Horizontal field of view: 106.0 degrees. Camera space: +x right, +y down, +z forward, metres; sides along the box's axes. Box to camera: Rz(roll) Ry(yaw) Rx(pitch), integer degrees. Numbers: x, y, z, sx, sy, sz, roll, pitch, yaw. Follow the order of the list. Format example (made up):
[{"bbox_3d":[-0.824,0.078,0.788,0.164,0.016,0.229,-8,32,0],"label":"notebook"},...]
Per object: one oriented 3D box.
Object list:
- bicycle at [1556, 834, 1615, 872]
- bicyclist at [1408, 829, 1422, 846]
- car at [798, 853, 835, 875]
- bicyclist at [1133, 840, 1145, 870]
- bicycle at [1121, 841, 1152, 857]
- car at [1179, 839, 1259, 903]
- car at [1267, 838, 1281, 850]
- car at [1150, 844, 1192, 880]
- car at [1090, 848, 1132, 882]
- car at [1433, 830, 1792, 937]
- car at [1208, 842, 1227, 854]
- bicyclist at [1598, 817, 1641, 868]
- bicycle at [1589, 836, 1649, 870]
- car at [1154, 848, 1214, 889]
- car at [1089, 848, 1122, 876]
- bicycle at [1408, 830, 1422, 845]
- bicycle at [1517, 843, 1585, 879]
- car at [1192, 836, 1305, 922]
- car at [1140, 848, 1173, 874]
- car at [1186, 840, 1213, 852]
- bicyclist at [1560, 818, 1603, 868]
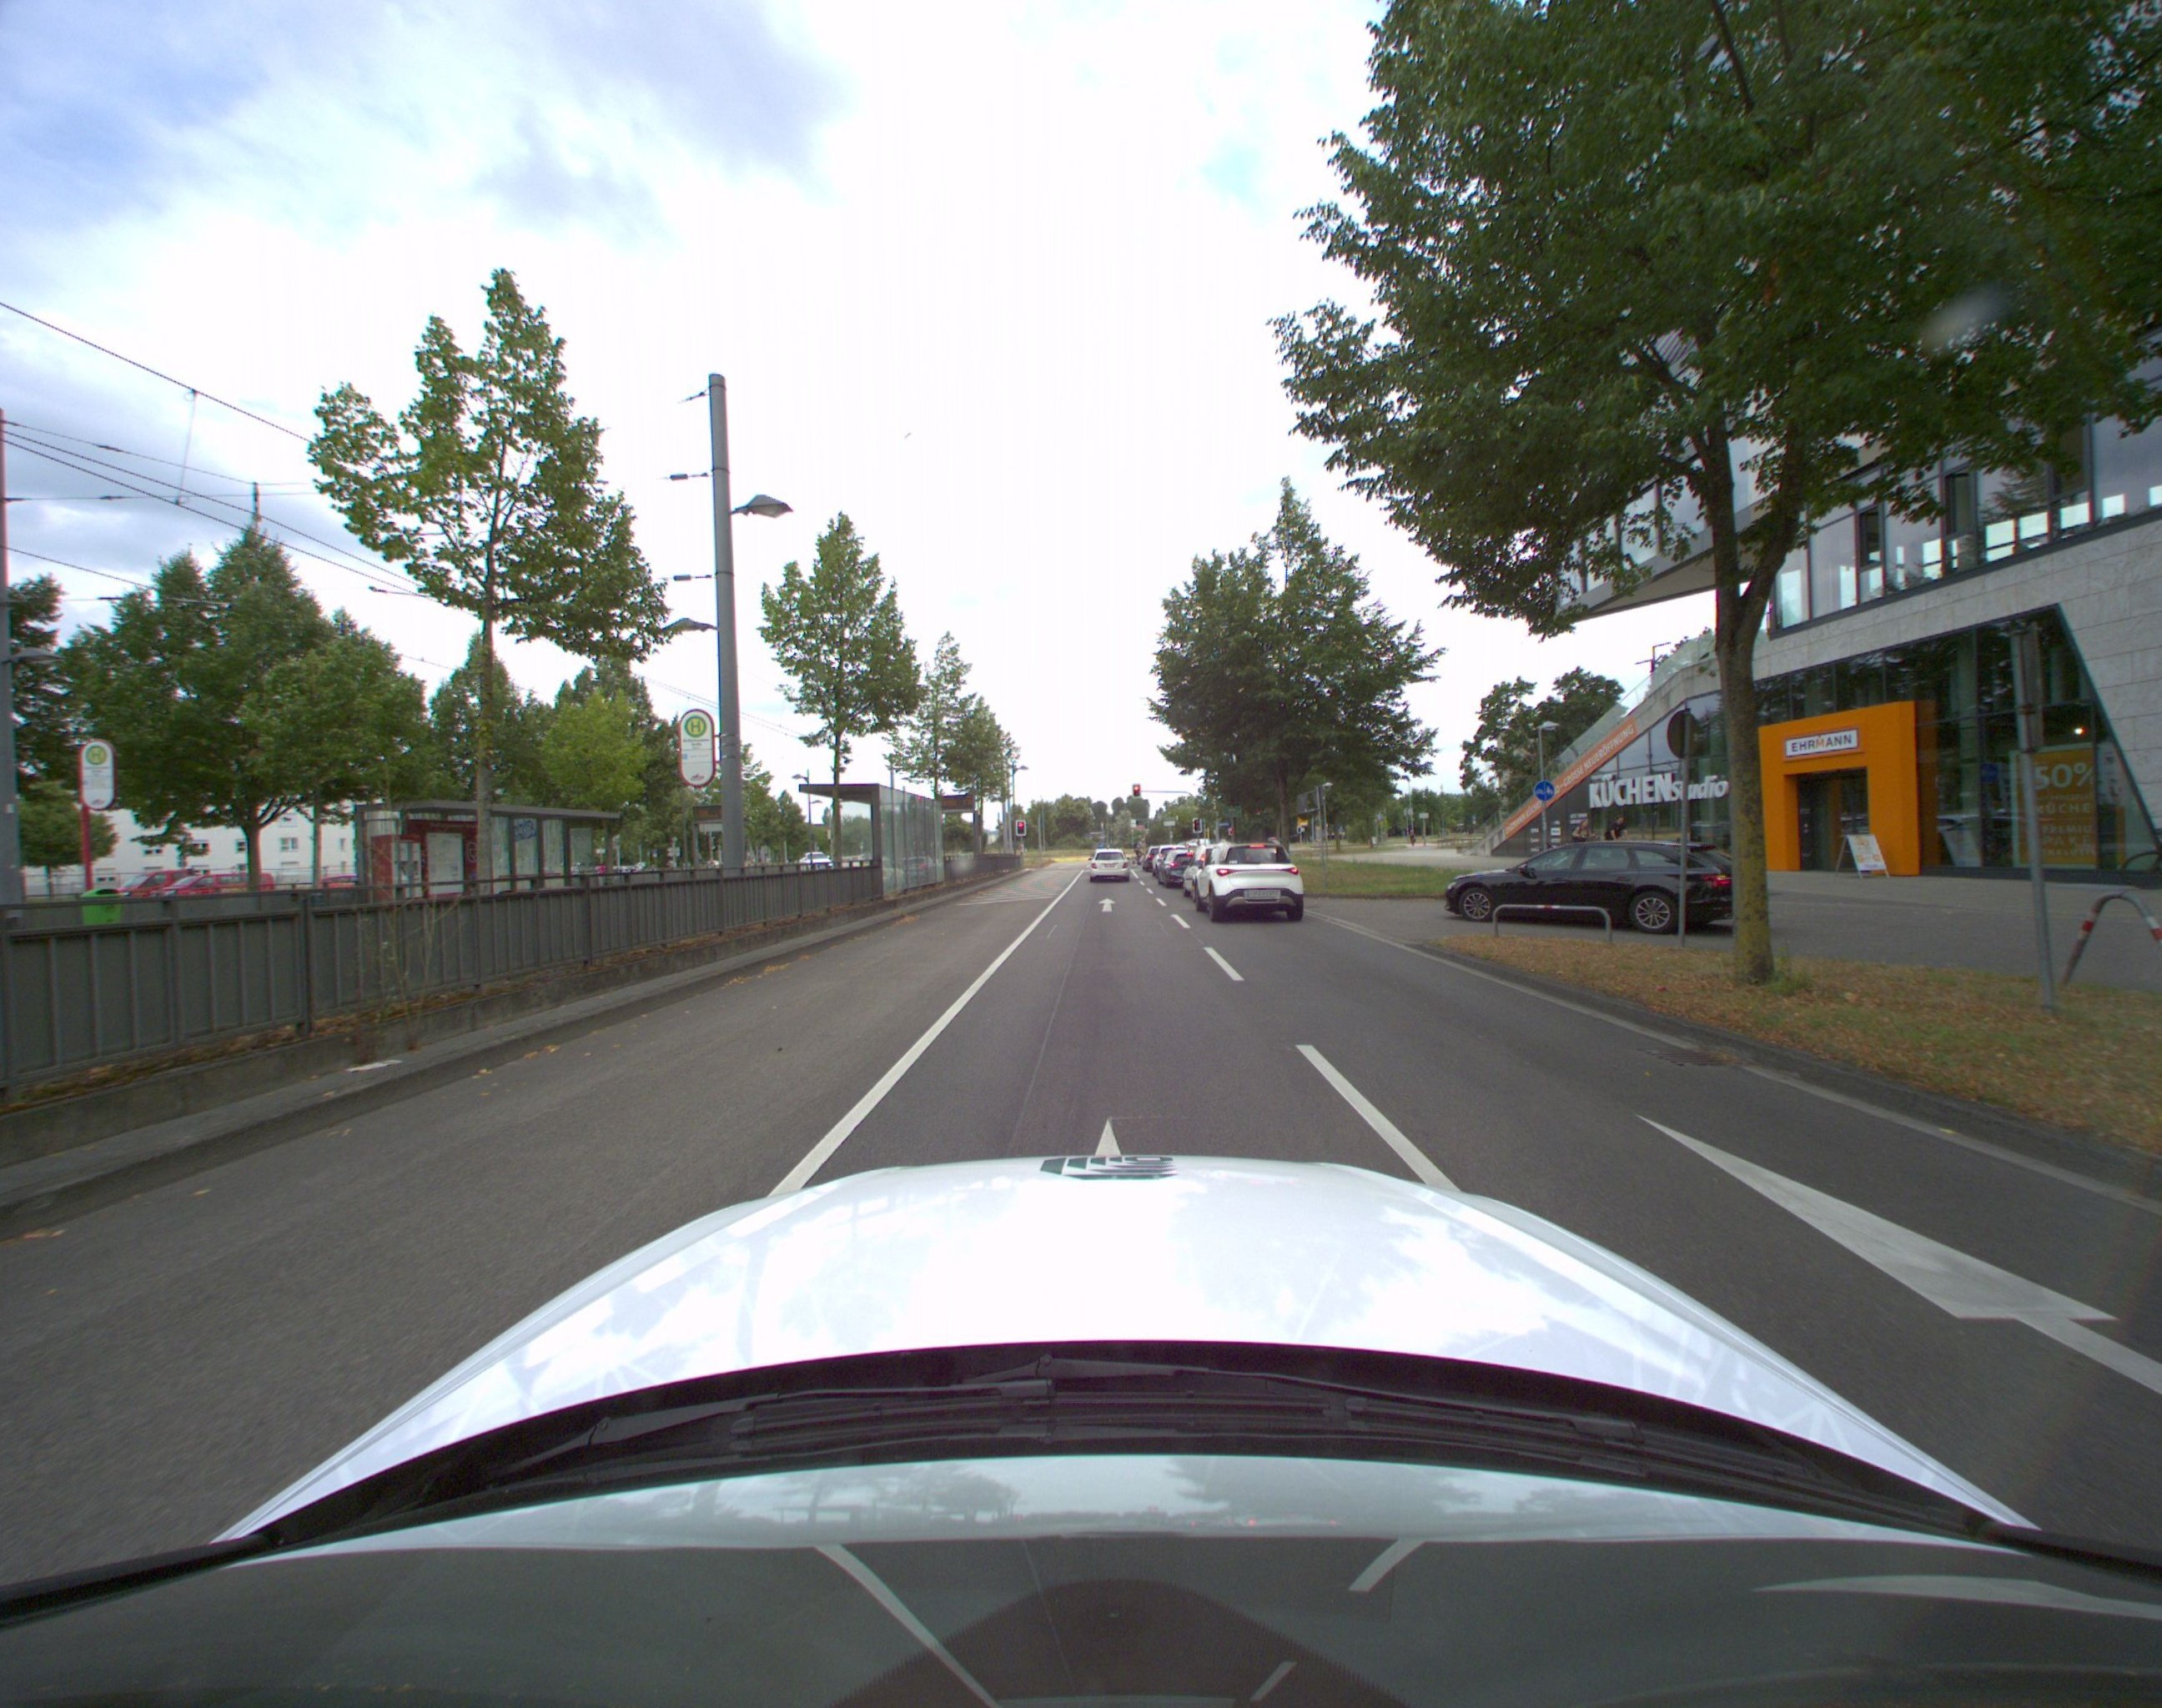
[{"bbox_3d":[16.306,-0.034,26.385,0.671,1.143,2.008,-2,0,2],"label":"bicycle"},{"bbox_3d":[34.567,-1.702,84.266,0.863,1.789,1.175,-2,0,0],"label":"bicyclist"},{"bbox_3d":[-20.545,0.775,63.201,2.005,1.618,4.345,-2,0,-28],"label":"car"},{"bbox_3d":[3.800,0.058,53.201,0.726,1.885,0.735,-2,4,1],"label":"bicyclist"},{"bbox_3d":[3.611,-0.311,53.086,1.927,0.984,0.564,-2,0,0],"label":"bicycle"},{"bbox_3d":[3.969,0.448,23.972,1.772,1.656,4.025,-2,0,2],"label":"car"},{"bbox_3d":[27.352,-1.440,115.326,1.771,1.636,4.416,-2,0,12],"label":"car"},{"bbox_3d":[4.391,0.365,40.217,1.780,1.624,3.913,-2,0,2],"label":"car"},{"bbox_3d":[1.316,0.466,37.108,1.768,1.448,3.910,-1,0,0],"label":"car"},{"bbox_3d":[8.917,0.445,14.153,1.955,1.475,4.820,-2,0,-33],"label":"car"},{"bbox_3d":[20.306,-0.931,121.220,1.988,1.791,3.998,0,0,-1],"label":"car"},{"bbox_3d":[17.544,-0.375,26.572,0.722,1.582,0.990,-2,0,2],"label":"bicyclist"},{"bbox_3d":[17.592,-0.031,26.698,0.671,1.042,2.008,-2,0,2],"label":"bicycle"},{"bbox_3d":[3.996,0.522,32.135,1.781,1.432,4.310,-2,0,0],"label":"car"},{"bbox_3d":[1.320,0.414,45.355,1.768,1.448,3.910,-1,0,0],"label":"car"},{"bbox_3d":[34.604,-1.732,84.444,0.702,1.505,2.008,0,0,2],"label":"bicycle"},{"bbox_3d":[13.355,0.176,23.232,0.628,0.956,2.106,-2,0,-3],"label":"bicycle"},{"bbox_3d":[3.517,0.466,17.740,1.772,1.656,4.026,0,0,2],"label":"car"},{"bbox_3d":[4.427,0.363,48.073,1.619,1.448,3.910,-1,0,0],"label":"car"},{"bbox_3d":[20.380,-1.376,140.024,1.975,2.013,5.030,-2,1,45],"label":"car"},{"bbox_3d":[16.298,-0.356,26.530,0.722,1.582,0.990,-3,0,2],"label":"bicyclist"}]
